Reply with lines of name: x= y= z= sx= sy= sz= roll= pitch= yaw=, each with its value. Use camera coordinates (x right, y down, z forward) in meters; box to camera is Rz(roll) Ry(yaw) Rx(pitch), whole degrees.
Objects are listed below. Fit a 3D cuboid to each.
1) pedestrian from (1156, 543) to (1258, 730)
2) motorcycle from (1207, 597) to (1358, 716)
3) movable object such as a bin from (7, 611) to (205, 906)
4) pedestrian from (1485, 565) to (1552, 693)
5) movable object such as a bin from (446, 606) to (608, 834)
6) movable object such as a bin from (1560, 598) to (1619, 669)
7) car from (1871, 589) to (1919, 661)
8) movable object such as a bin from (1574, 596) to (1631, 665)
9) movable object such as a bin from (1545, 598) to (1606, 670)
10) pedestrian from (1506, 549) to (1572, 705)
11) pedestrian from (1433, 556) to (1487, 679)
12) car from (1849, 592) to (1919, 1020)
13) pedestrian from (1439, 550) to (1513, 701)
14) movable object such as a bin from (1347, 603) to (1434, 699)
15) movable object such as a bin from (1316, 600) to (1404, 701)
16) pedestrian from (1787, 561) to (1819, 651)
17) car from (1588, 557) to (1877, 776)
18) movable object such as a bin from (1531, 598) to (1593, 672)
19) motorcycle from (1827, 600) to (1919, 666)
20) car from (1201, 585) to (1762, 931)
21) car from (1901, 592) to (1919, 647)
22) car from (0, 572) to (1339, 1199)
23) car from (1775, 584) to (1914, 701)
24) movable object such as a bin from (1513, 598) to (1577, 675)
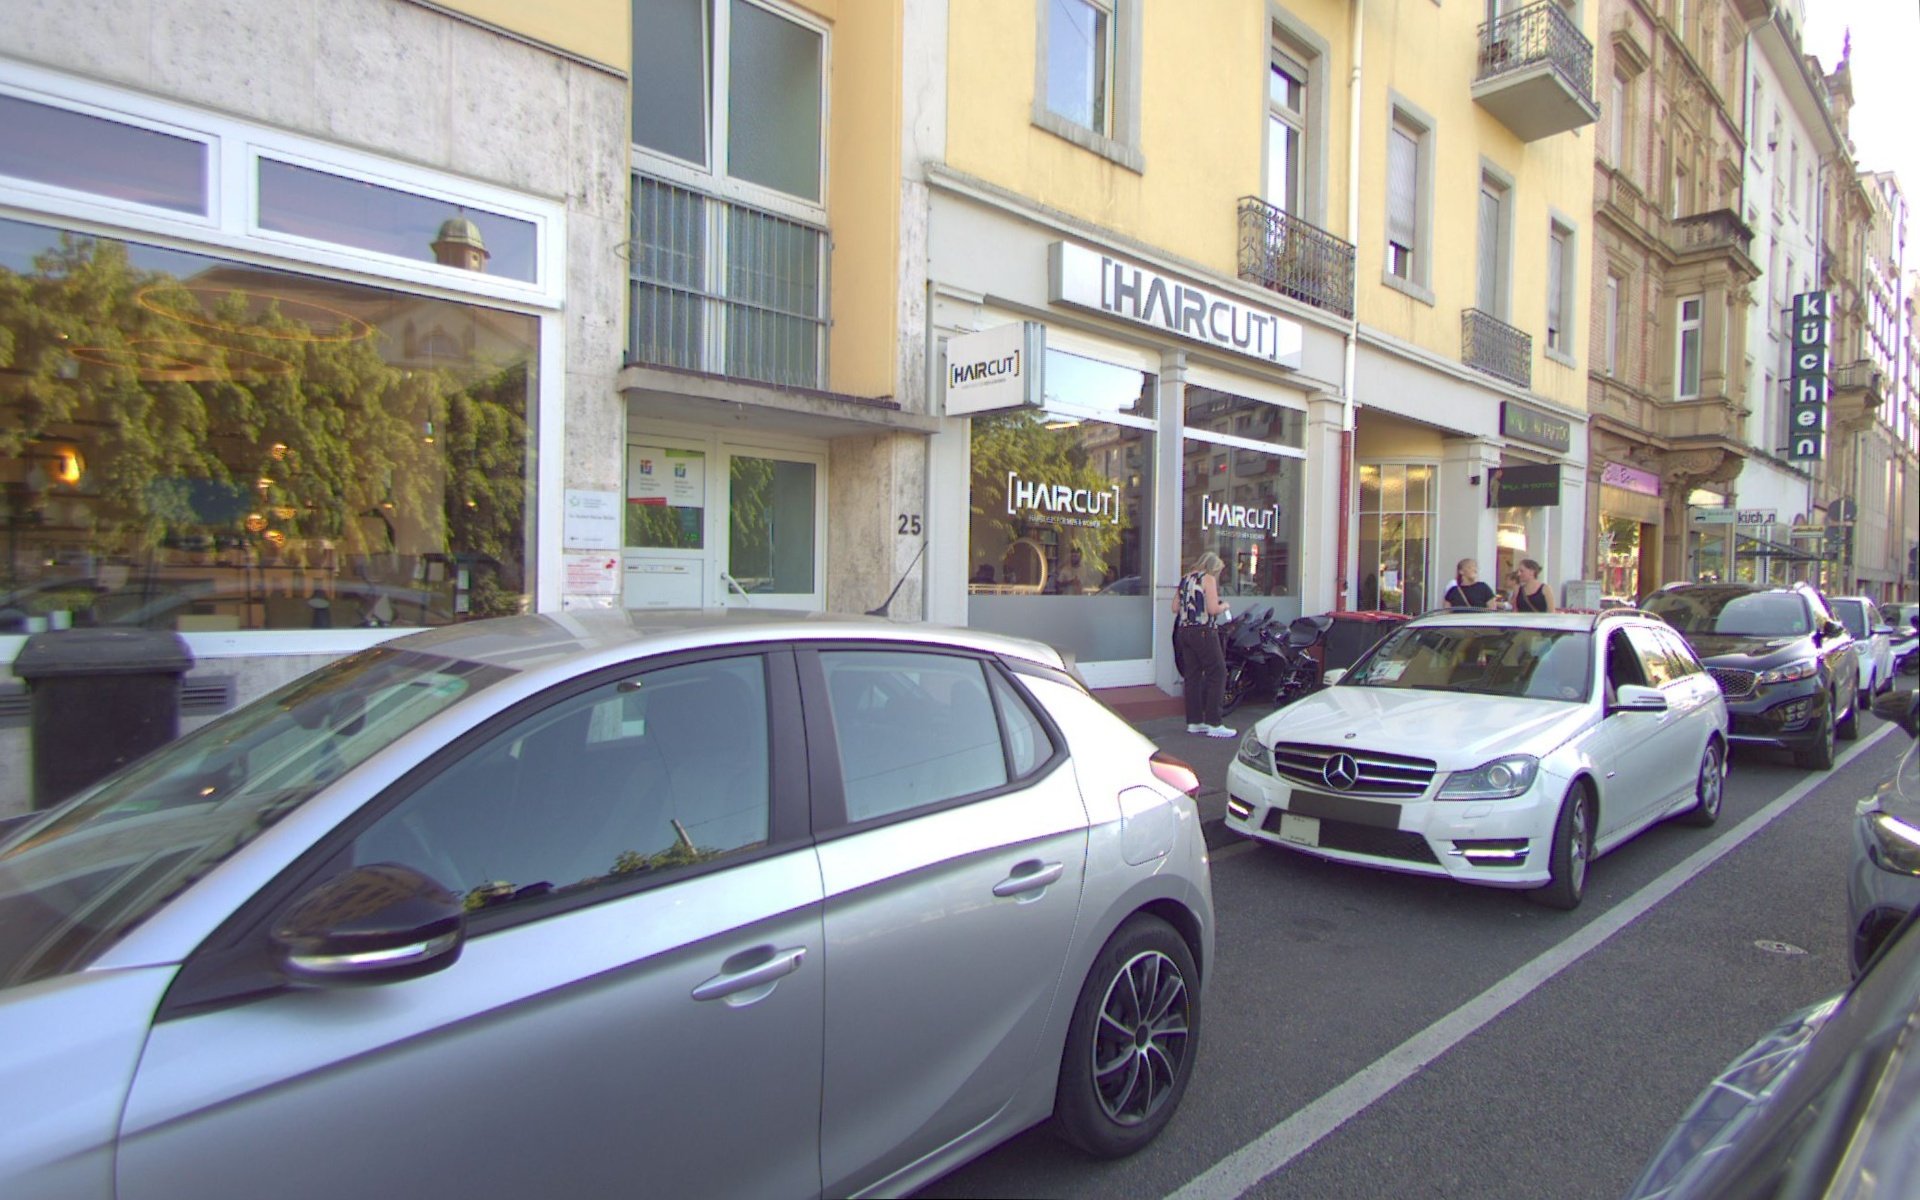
pedestrian: x=2.276 y=0.308 z=9.345 sx=0.523 sy=1.653 sz=0.697 roll=0 pitch=2 yaw=-43
motorcycle: x=3.382 y=0.538 z=10.506 sx=1.975 sy=1.105 sz=0.551 roll=0 pitch=3 yaw=-42
movable object such as a bin: x=-3.666 y=0.620 z=4.363 sx=0.609 sy=1.080 sz=0.704 roll=0 pitch=4 yaw=-41
pedestrian: x=7.535 y=0.383 z=13.660 sx=0.582 sy=1.681 sz=0.451 roll=2 pitch=1 yaw=2
movable object such as a bin: x=-2.360 y=0.603 z=5.503 sx=0.609 sy=1.080 sz=0.704 roll=0 pitch=4 yaw=-41
movable object such as a bin: x=10.233 y=0.530 z=16.451 sx=0.608 sy=1.079 sz=0.606 roll=0 pitch=4 yaw=-41
car: x=22.057 y=0.526 z=22.970 sx=4.096 sy=1.537 sz=1.734 roll=0 pitch=1 yaw=-44
movable object such as a bin: x=10.716 y=0.498 z=16.881 sx=0.608 sy=1.079 sz=0.606 roll=0 pitch=4 yaw=-41
movable object such as a bin: x=9.762 y=0.523 z=16.045 sx=0.608 sy=1.079 sz=0.606 roll=0 pitch=4 yaw=-41
pedestrian: x=6.297 y=0.278 z=11.011 sx=0.407 sy=1.653 sz=0.514 roll=0 pitch=0 yaw=-43
pedestrian: x=6.974 y=0.233 z=14.125 sx=0.514 sy=1.681 sz=0.338 roll=2 pitch=1 yaw=1
car: x=5.393 y=0.713 z=4.341 sx=4.297 sy=1.467 sz=1.846 roll=0 pitch=1 yaw=-41
pedestrian: x=5.822 y=0.273 z=11.429 sx=0.455 sy=1.653 sz=0.617 roll=0 pitch=0 yaw=-42
movable object such as a bin: x=5.044 y=0.573 z=11.866 sx=0.608 sy=1.037 sz=0.669 roll=1 pitch=3 yaw=-38
movable object such as a bin: x=4.540 y=0.554 z=11.495 sx=0.608 sy=1.054 sz=0.661 roll=1 pitch=3 yaw=-38
pedestrian: x=17.105 y=0.118 z=20.527 sx=0.473 sy=1.785 sz=0.434 roll=0 pitch=0 yaw=-41
car: x=8.027 y=0.504 z=10.336 sx=4.498 sy=1.758 sz=1.756 roll=0 pitch=1 yaw=-45
movable object such as a bin: x=9.304 y=0.529 z=15.651 sx=0.608 sy=1.079 sz=0.606 roll=0 pitch=4 yaw=-41
motorcycle: x=19.054 y=0.660 z=20.468 sx=2.137 sy=1.295 sz=0.866 roll=1 pitch=0 yaw=7
car: x=3.548 y=0.657 z=6.448 sx=4.387 sy=1.465 sz=1.741 roll=0 pitch=1 yaw=-42
car: x=26.618 y=0.515 z=27.096 sx=3.736 sy=1.435 sz=1.736 roll=0 pitch=1 yaw=-41
car: x=-0.873 y=0.672 z=2.431 sx=4.007 sy=1.445 sz=1.673 roll=0 pitch=1 yaw=-42
car: x=12.916 y=0.548 z=14.746 sx=2.748 sy=1.537 sz=1.273 roll=0 pitch=1 yaw=-44
movable object such as a bin: x=8.815 y=0.536 z=15.245 sx=0.608 sy=1.079 sz=0.606 roll=0 pitch=4 yaw=-41
